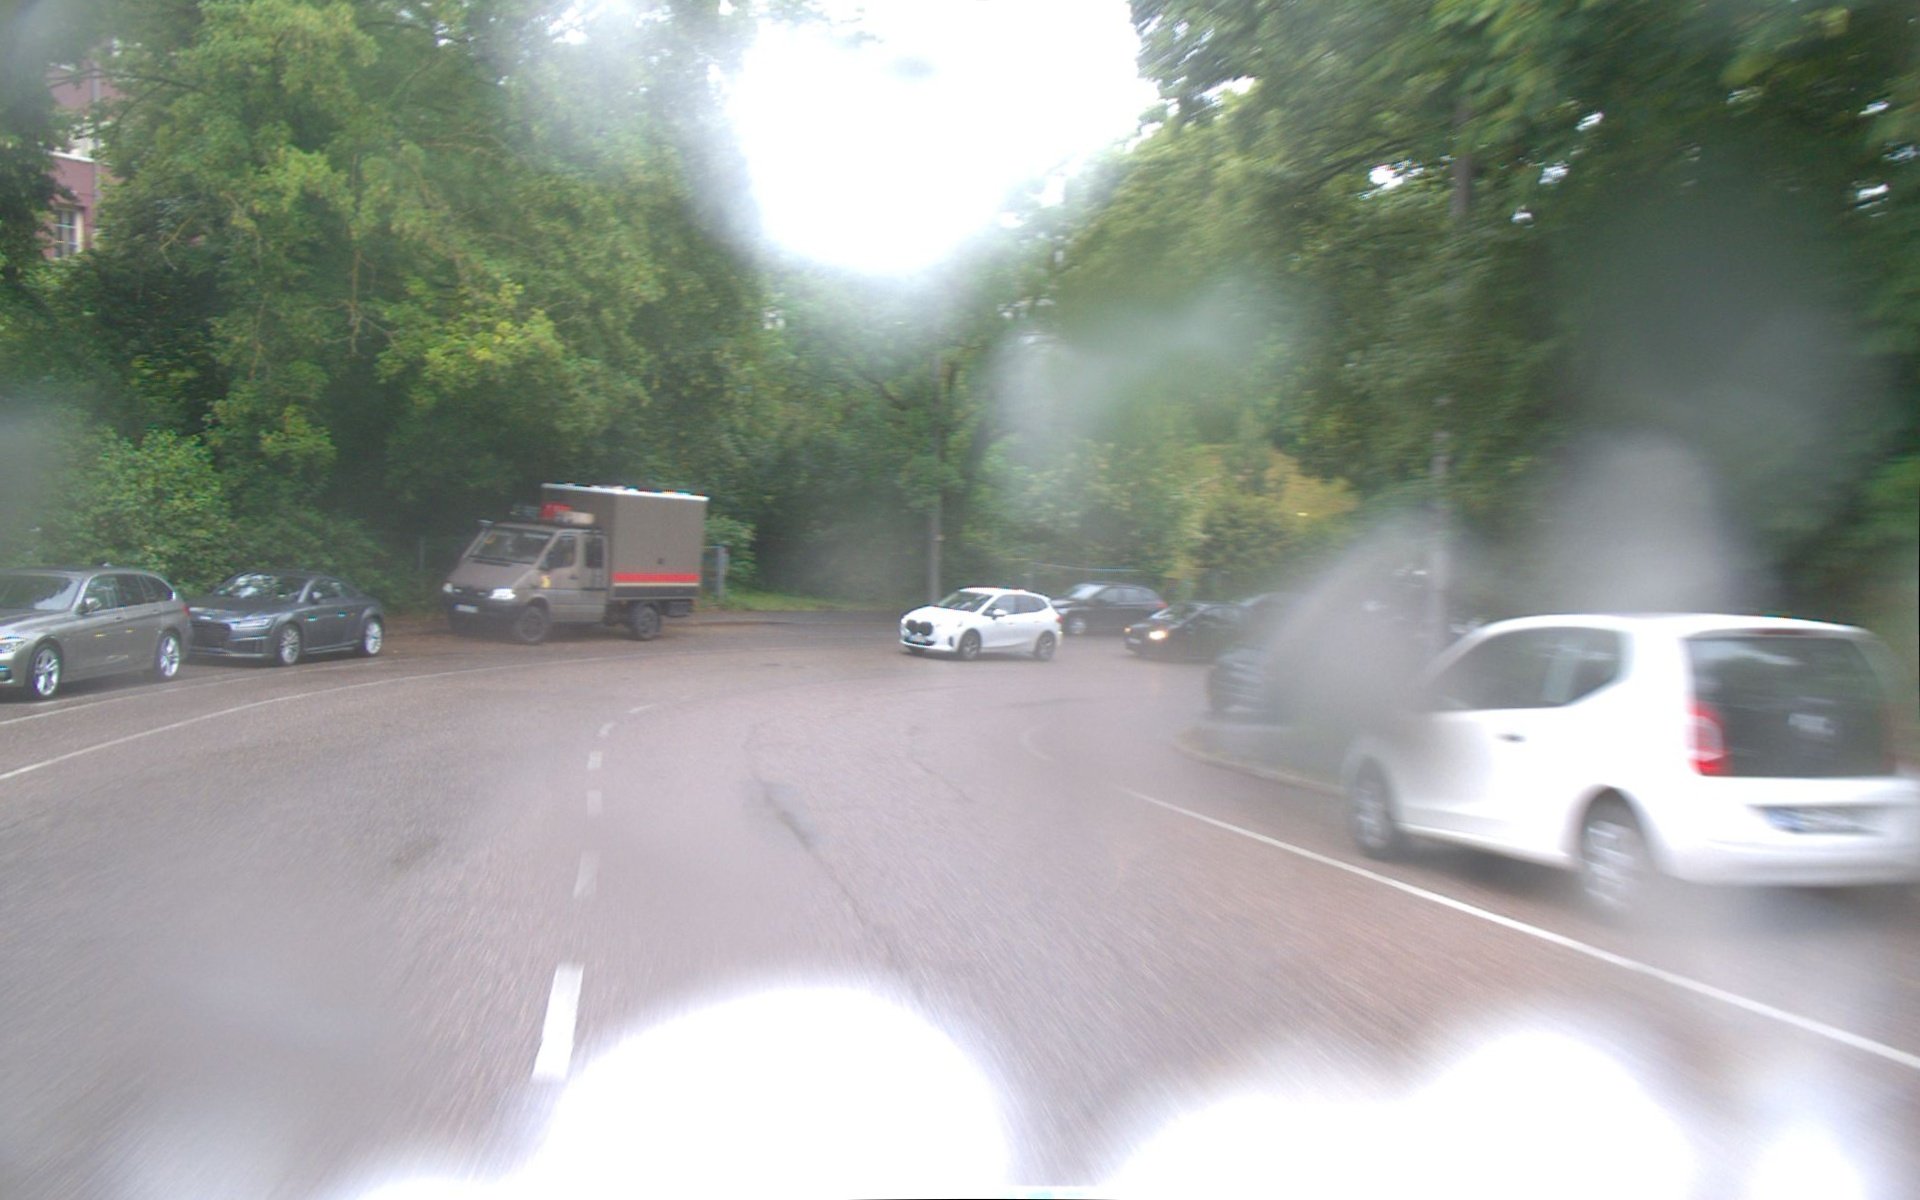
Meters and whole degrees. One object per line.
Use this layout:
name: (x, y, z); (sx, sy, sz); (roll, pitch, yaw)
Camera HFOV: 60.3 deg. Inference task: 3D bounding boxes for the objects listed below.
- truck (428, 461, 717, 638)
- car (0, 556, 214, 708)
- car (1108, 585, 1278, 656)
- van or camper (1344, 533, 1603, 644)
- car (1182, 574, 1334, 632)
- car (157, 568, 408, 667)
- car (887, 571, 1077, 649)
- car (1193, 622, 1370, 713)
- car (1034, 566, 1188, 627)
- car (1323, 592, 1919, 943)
truck: (-7.712, -0.962, 33.867); (1.993, 3.155, 6.610); (5, 2, 24)
car: (-10.870, 0.278, 19.904); (1.664, 1.524, 4.530); (2, 2, 0)
car: (6.061, 0.536, 43.028); (4.023, 1.544, 1.752); (3, 2, -27)
van or camper: (16.359, -0.394, 52.869); (7.493, 2.981, 2.200); (3, 6, -8)
car: (9.200, 0.101, 51.102); (4.231, 1.378, 1.752); (3, 6, -18)
car: (-10.355, 0.204, 25.637); (1.663, 1.297, 4.250); (2, 2, 8)
car: (0.568, 0.253, 38.410); (4.422, 1.597, 1.775); (2, 2, -45)
car: (6.392, 1.307, 32.643); (1.625, 1.489, 4.013); (9, 4, 39)
car: (4.445, -0.084, 48.524); (4.258, 1.489, 1.766); (2, 6, -33)
car: (3.555, 0.759, 9.182); (1.558, 1.528, 3.654); (2, -1, -14)
